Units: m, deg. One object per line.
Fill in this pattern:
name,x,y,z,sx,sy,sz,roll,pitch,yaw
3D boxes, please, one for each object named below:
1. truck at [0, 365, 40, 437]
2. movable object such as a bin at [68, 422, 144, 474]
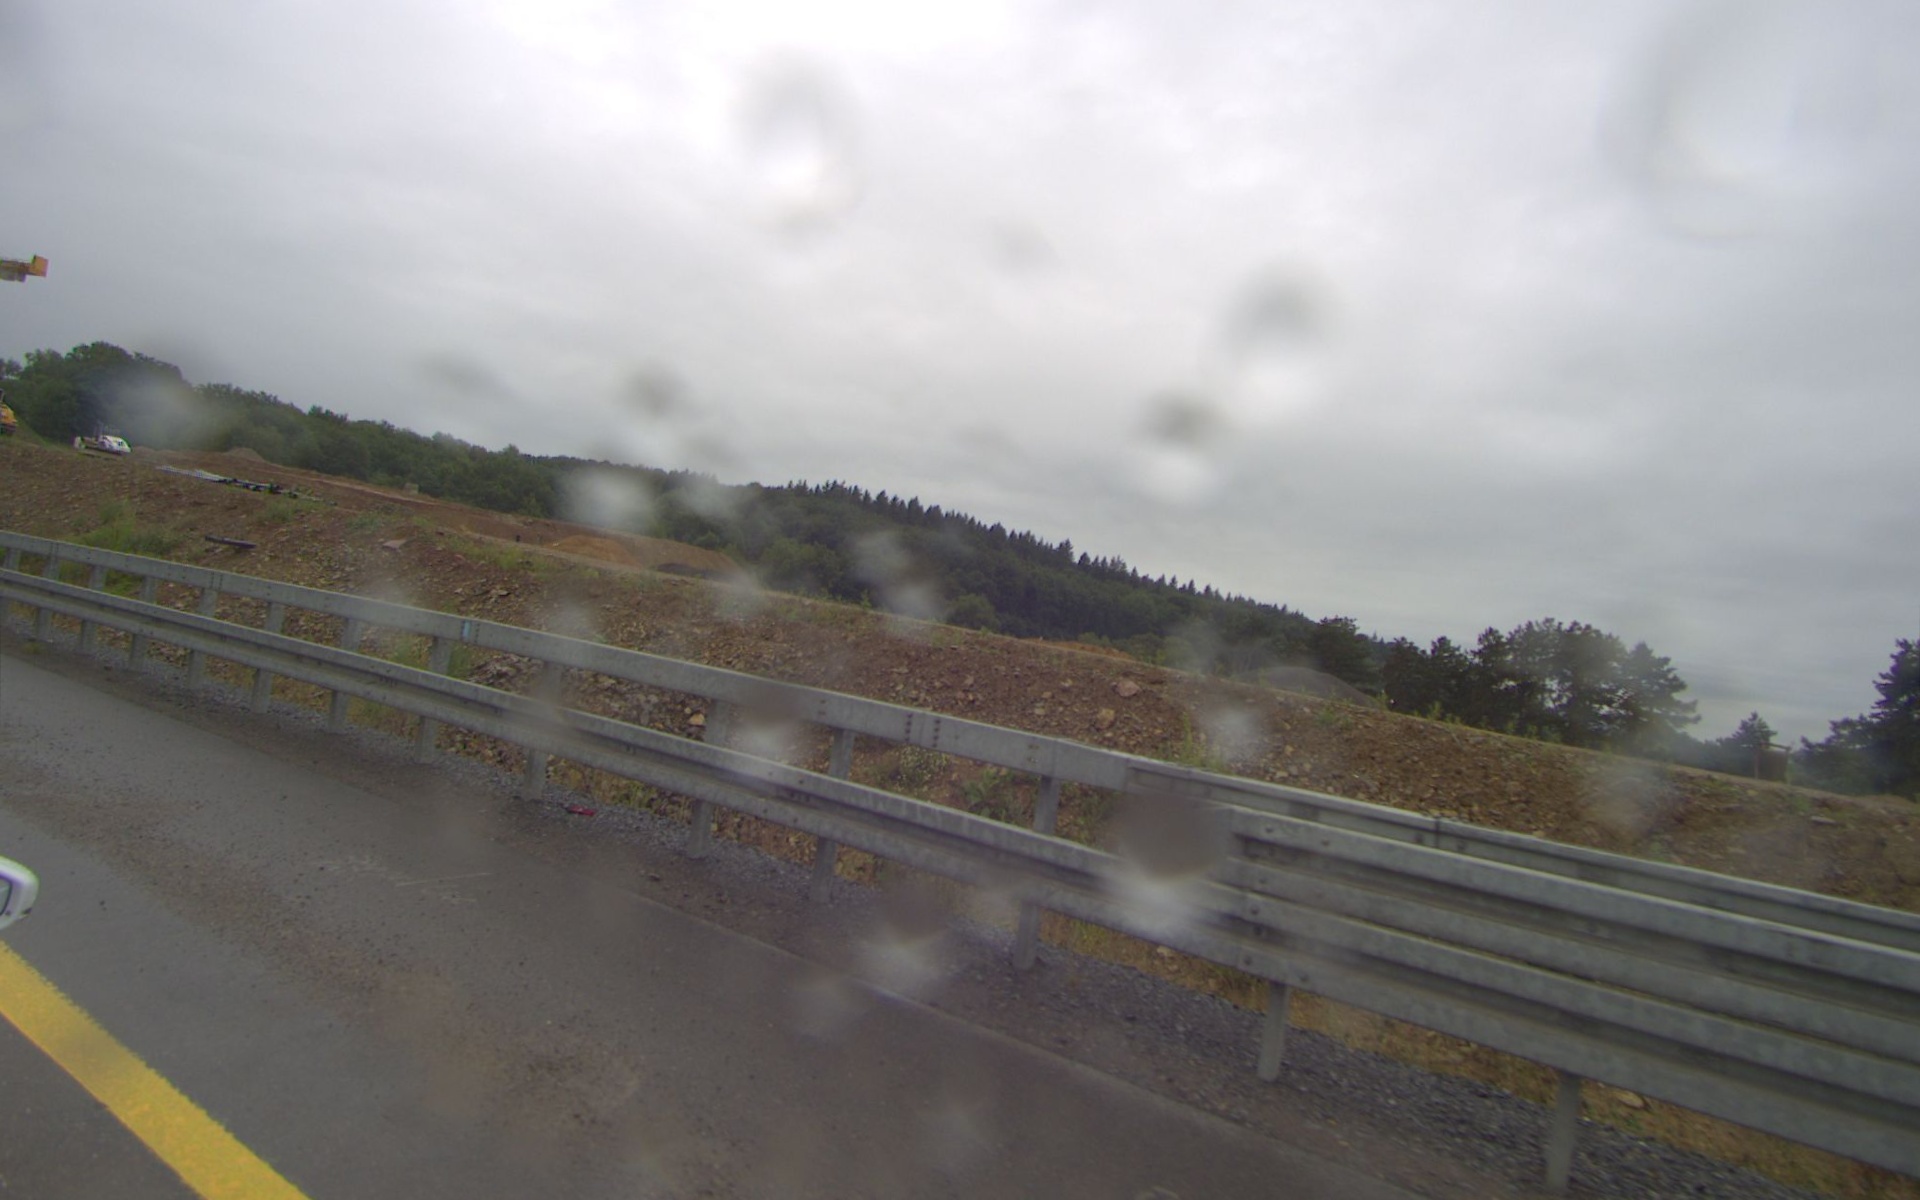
truck,-64.666,-13.389,67.448,5.878,4.267,2.378,7,-1,31
movable object such as a bin,-72.056,-12.841,84.874,6.447,3.642,2.347,7,-1,28
